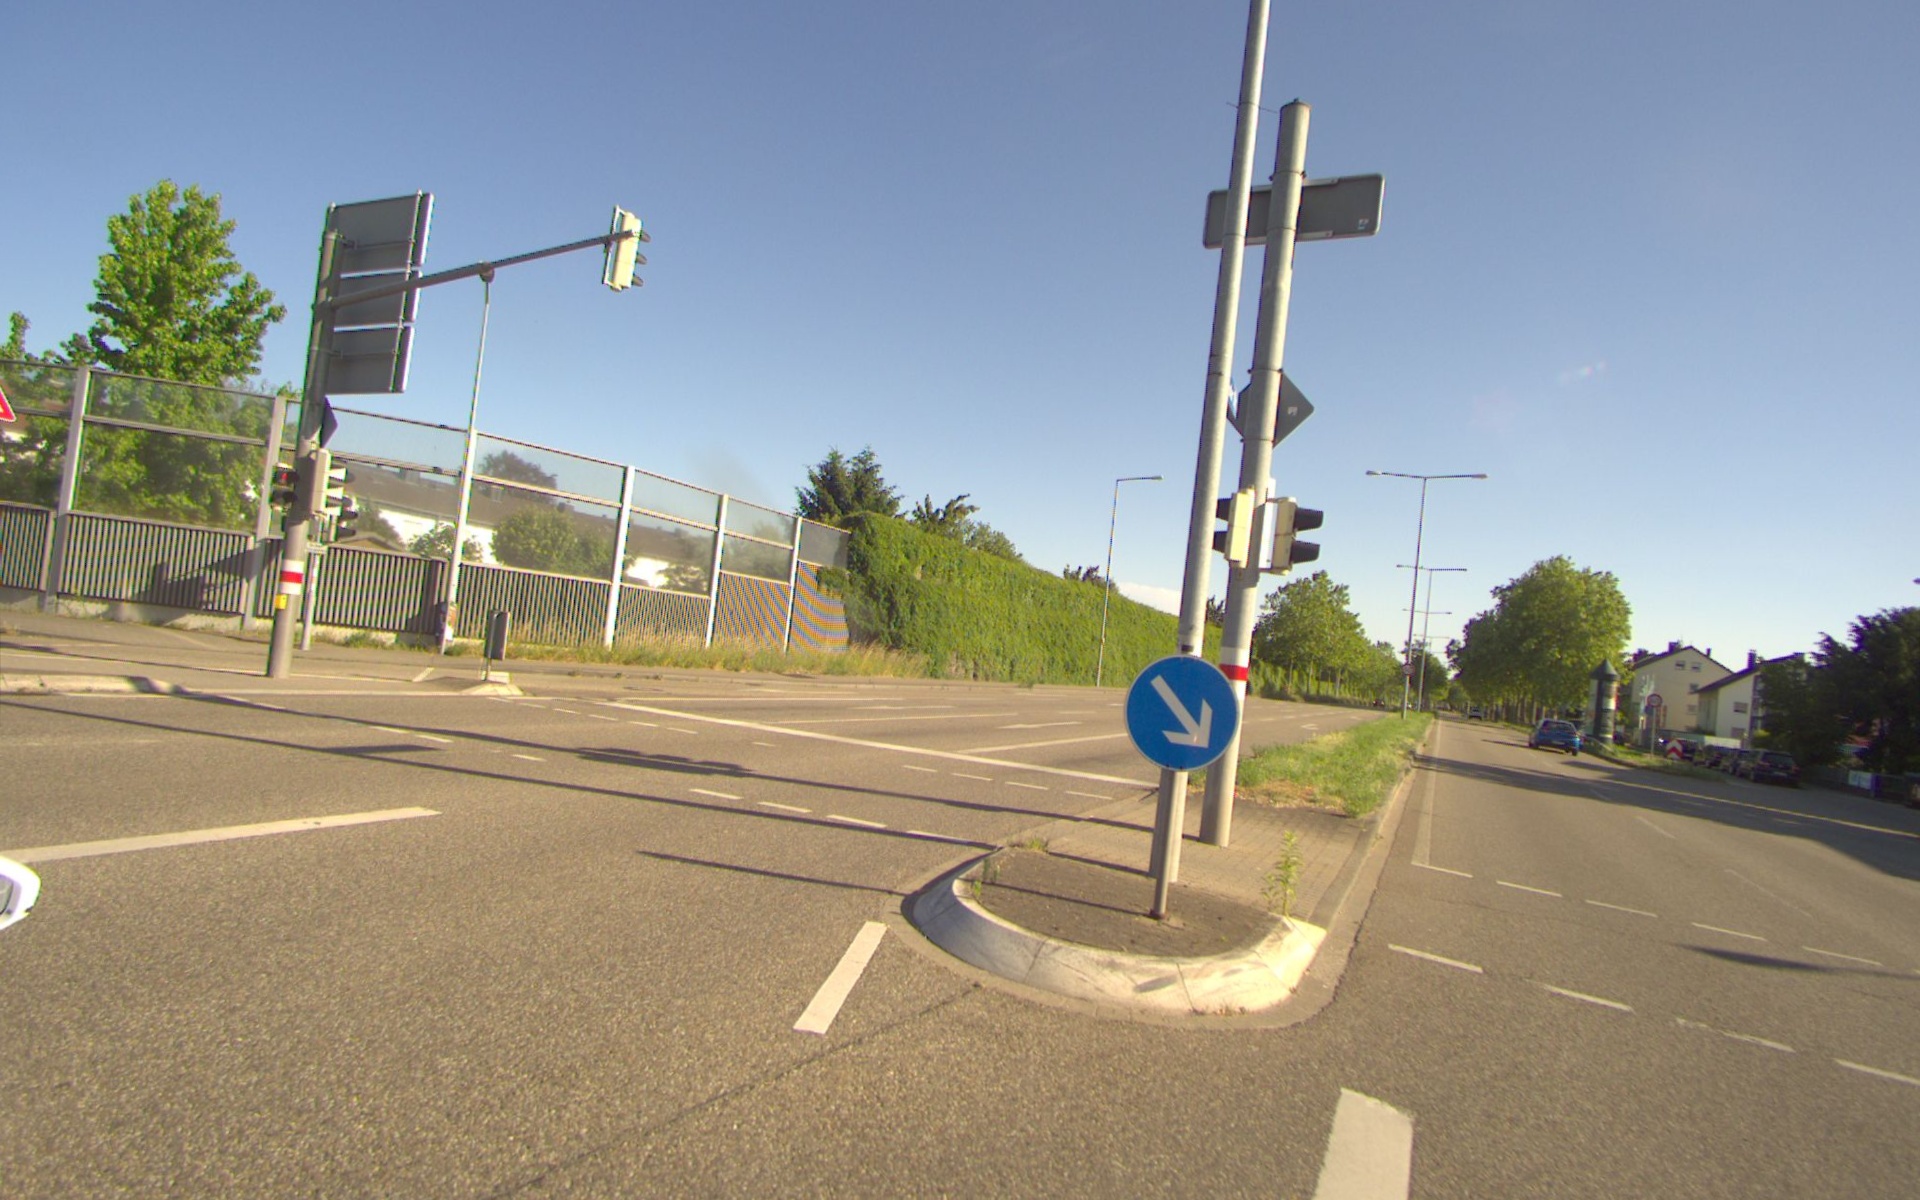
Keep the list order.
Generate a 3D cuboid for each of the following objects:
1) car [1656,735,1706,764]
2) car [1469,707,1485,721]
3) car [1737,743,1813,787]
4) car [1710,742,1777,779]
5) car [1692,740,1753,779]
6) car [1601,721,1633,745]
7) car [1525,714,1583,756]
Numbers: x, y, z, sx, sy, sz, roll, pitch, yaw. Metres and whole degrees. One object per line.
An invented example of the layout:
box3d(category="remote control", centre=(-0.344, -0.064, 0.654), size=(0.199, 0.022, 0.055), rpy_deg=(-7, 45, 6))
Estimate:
box3d(category="car", centre=(48.737, 10.070, 68.088), size=(1.965, 1.608, 4.002), rpy_deg=(7, -4, 27))
box3d(category="car", centre=(74.331, 16.389, 144.550), size=(1.826, 1.610, 3.999), rpy_deg=(6, -2, 27))
box3d(category="car", centre=(40.522, 8.173, 50.115), size=(1.965, 1.636, 3.999), rpy_deg=(6, -2, 27))
box3d(category="car", centre=(42.693, 8.743, 54.933), size=(1.965, 1.613, 4.002), rpy_deg=(7, -4, 27))
box3d(category="car", centre=(44.658, 9.308, 58.987), size=(1.965, 1.837, 4.002), rpy_deg=(7, -4, 27))
box3d(category="car", centre=(62.184, 12.560, 95.251), size=(1.764, 1.976, 4.004), rpy_deg=(7, -4, 24))
box3d(category="car", centre=(26.934, 6.091, 45.739), size=(1.706, 1.457, 3.793), rpy_deg=(7, -2, 24))
